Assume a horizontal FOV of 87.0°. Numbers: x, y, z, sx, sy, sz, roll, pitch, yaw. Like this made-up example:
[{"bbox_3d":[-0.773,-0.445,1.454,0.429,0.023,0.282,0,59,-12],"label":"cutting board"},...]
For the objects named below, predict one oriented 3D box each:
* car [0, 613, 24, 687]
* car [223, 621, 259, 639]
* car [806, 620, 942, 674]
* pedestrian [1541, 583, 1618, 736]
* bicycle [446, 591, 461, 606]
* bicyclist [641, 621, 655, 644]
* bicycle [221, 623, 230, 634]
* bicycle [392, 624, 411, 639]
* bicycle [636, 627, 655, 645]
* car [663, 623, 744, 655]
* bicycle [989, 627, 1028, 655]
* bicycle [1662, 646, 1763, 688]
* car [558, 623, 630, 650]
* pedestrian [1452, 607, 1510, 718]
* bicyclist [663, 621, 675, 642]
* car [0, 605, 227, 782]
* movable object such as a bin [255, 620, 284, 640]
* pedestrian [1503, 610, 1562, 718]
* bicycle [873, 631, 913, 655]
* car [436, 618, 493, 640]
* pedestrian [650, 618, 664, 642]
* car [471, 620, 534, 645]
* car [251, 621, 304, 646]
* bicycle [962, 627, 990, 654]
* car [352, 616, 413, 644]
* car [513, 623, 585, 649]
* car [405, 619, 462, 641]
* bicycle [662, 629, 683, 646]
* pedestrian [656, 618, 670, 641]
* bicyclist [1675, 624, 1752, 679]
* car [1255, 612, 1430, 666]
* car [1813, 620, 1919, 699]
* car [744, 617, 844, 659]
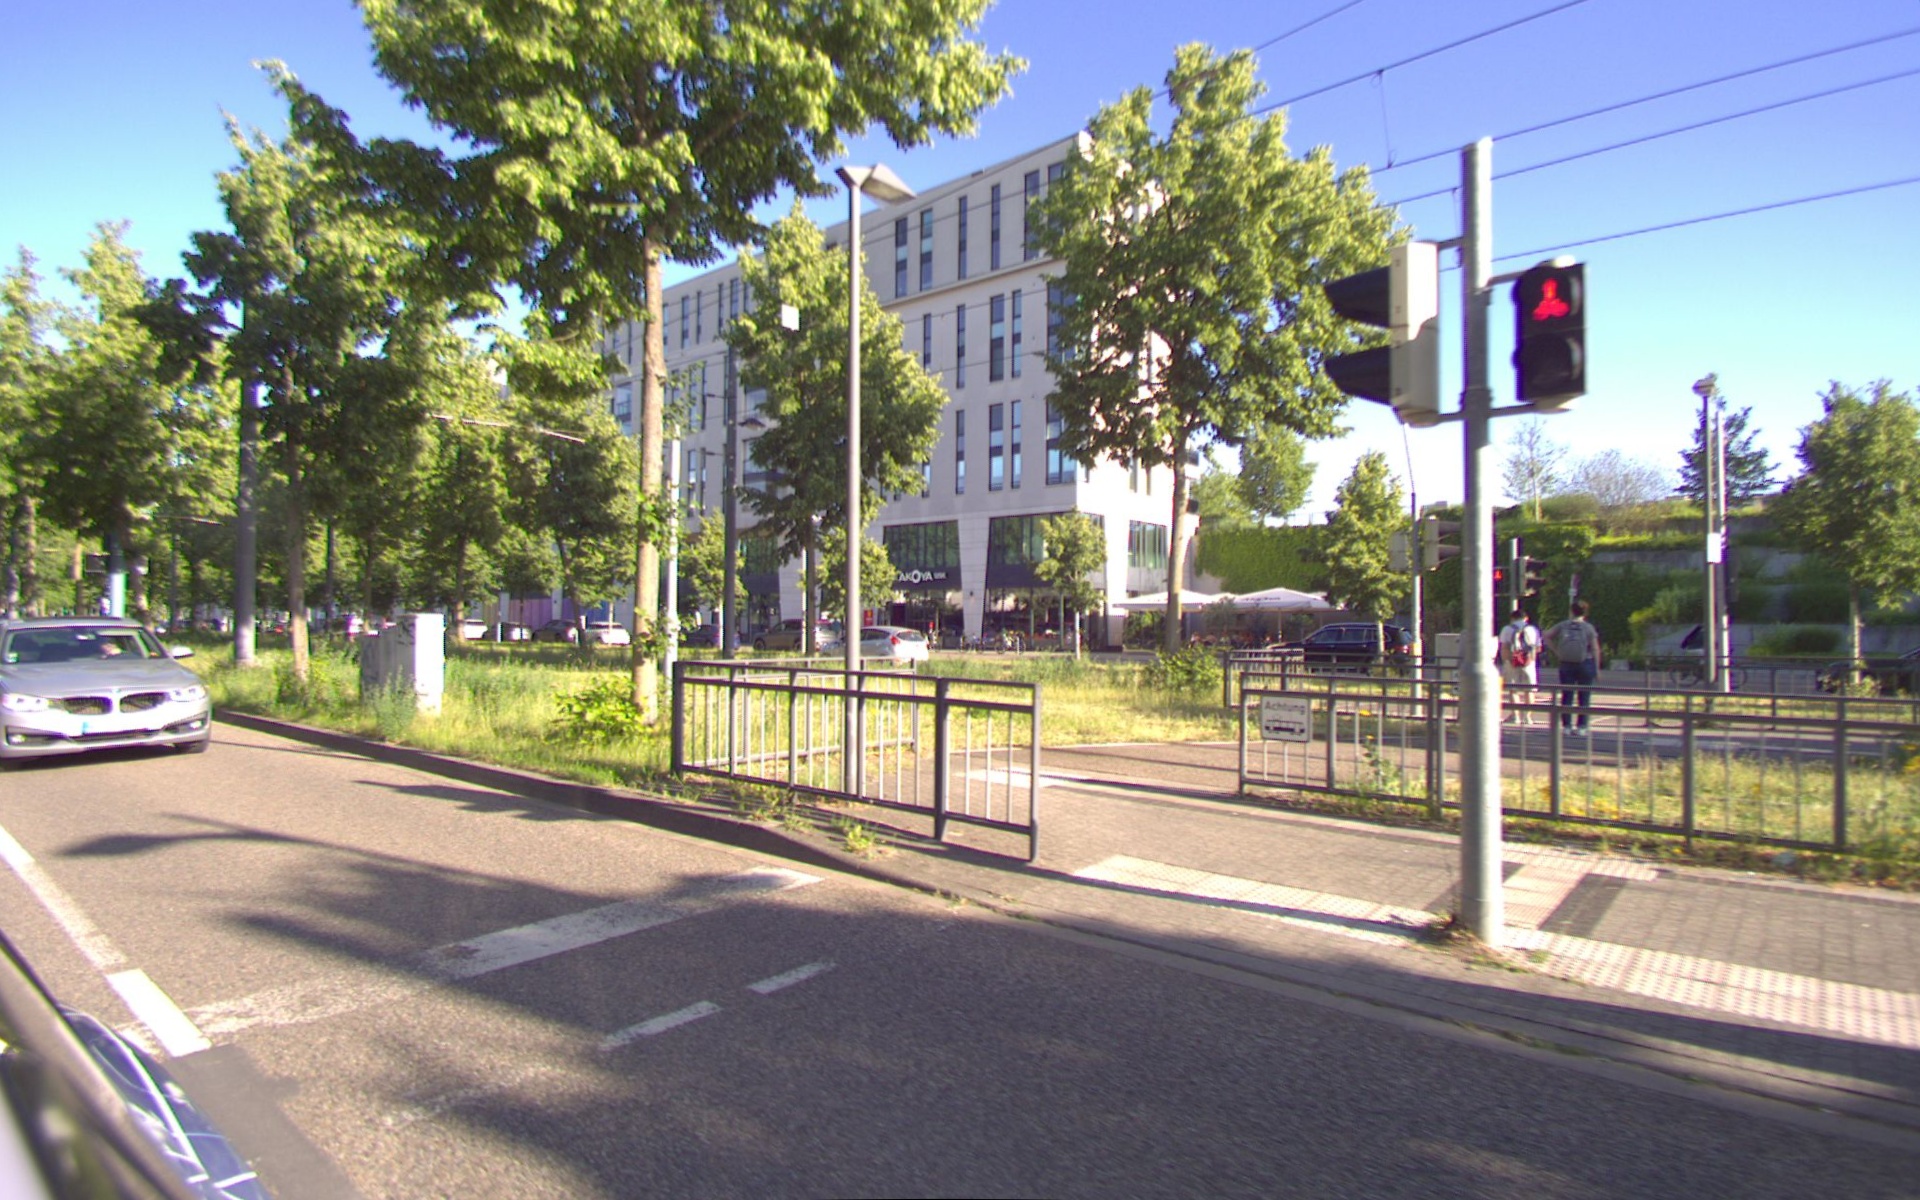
[{"bbox_3d":[-22.205,1.094,22.391,4.000,1.534,1.925,0,0,43],"label":"car"},{"bbox_3d":[-76.131,3.191,107.141,4.333,1.742,1.974,0,0,39],"label":"car"},{"bbox_3d":[-2.705,1.422,31.580,3.996,1.497,1.974,0,0,39],"label":"car"},{"bbox_3d":[7.861,0.720,12.833,0.725,1.850,0.812,-1,0,38],"label":"pedestrian"},{"bbox_3d":[-44.213,-0.107,88.291,1.606,1.290,0.592,0,0,39],"label":"bicycle"},{"bbox_3d":[-19.360,2.019,62.775,0.956,1.429,0.425,0,0,43],"label":"bicyclist"},{"bbox_3d":[-98.333,3.835,135.529,0.654,1.334,2.338,-1,0,-43],"label":"bicycle"},{"bbox_3d":[-52.131,2.921,94.403,0.935,1.290,2.775,-1,0,-42],"label":"bicycle"},{"bbox_3d":[-19.550,2.233,62.959,1.484,1.024,0.425,0,0,43],"label":"bicycle"},{"bbox_3d":[-13.097,1.955,51.616,4.264,1.452,1.937,0,0,41],"label":"car"},{"bbox_3d":[2.293,1.933,47.946,1.839,1.262,0.582,0,0,41],"label":"bicycle"},{"bbox_3d":[20.512,1.808,27.615,2.187,1.009,0.491,0,0,41],"label":"bicycle"},{"bbox_3d":[-21.420,2.096,59.145,4.451,1.452,1.974,0,0,39],"label":"car"},{"bbox_3d":[7.479,0.874,14.530,0.543,1.529,0.589,-1,0,-44],"label":"pedestrian"},{"bbox_3d":[-18.298,1.995,63.599,0.719,1.313,0.364,-1,0,42],"label":"bicyclist"},{"bbox_3d":[-9.883,0.873,11.300,4.276,1.590,1.862,0,0,41],"label":"car"},{"bbox_3d":[-67.510,2.928,98.970,1.554,1.808,1.951,-1,0,39],"label":"movable object such as a bin"},{"bbox_3d":[8.236,0.899,14.561,0.603,1.508,0.536,-1,0,45],"label":"pedestrian"},{"bbox_3d":[-3.522,2.236,53.068,2.239,1.207,0.726,0,0,40],"label":"bicycle"},{"bbox_3d":[-34.647,1.993,70.725,4.453,1.452,1.973,0,0,41],"label":"car"},{"bbox_3d":[-21.427,2.128,71.575,0.719,1.663,0.629,-1,0,39],"label":"pedestrian"},{"bbox_3d":[-30.129,2.120,66.641,4.451,1.452,1.974,0,0,39],"label":"car"},{"bbox_3d":[-47.056,2.283,69.776,4.317,1.539,1.973,0,0,41],"label":"car"},{"bbox_3d":[0.766,1.963,49.314,0.579,1.262,1.846,-1,0,-28],"label":"bicycle"},{"bbox_3d":[-33.470,1.714,58.630,4.167,1.583,1.971,-1,-1,44],"label":"car"},{"bbox_3d":[-25.314,2.182,62.235,4.931,1.452,1.974,0,0,39],"label":"car"},{"bbox_3d":[-38.456,2.175,73.868,4.773,1.452,1.974,0,0,39],"label":"car"},{"bbox_3d":[-17.978,2.351,63.297,1.800,1.024,0.375,0,0,43],"label":"bicycle"},{"bbox_3d":[-21.241,2.119,72.476,0.718,1.663,0.630,-1,0,34],"label":"pedestrian"},{"bbox_3d":[20.533,1.383,27.595,1.659,1.416,0.484,0,0,41],"label":"bicyclist"},{"bbox_3d":[11.476,1.113,30.569,4.610,1.445,1.859,0,0,42],"label":"car"},{"bbox_3d":[21.707,1.306,22.128,4.610,1.633,1.859,0,0,42],"label":"car"},{"bbox_3d":[-7.804,1.725,47.377,4.771,1.785,1.974,0,0,39],"label":"car"}]
